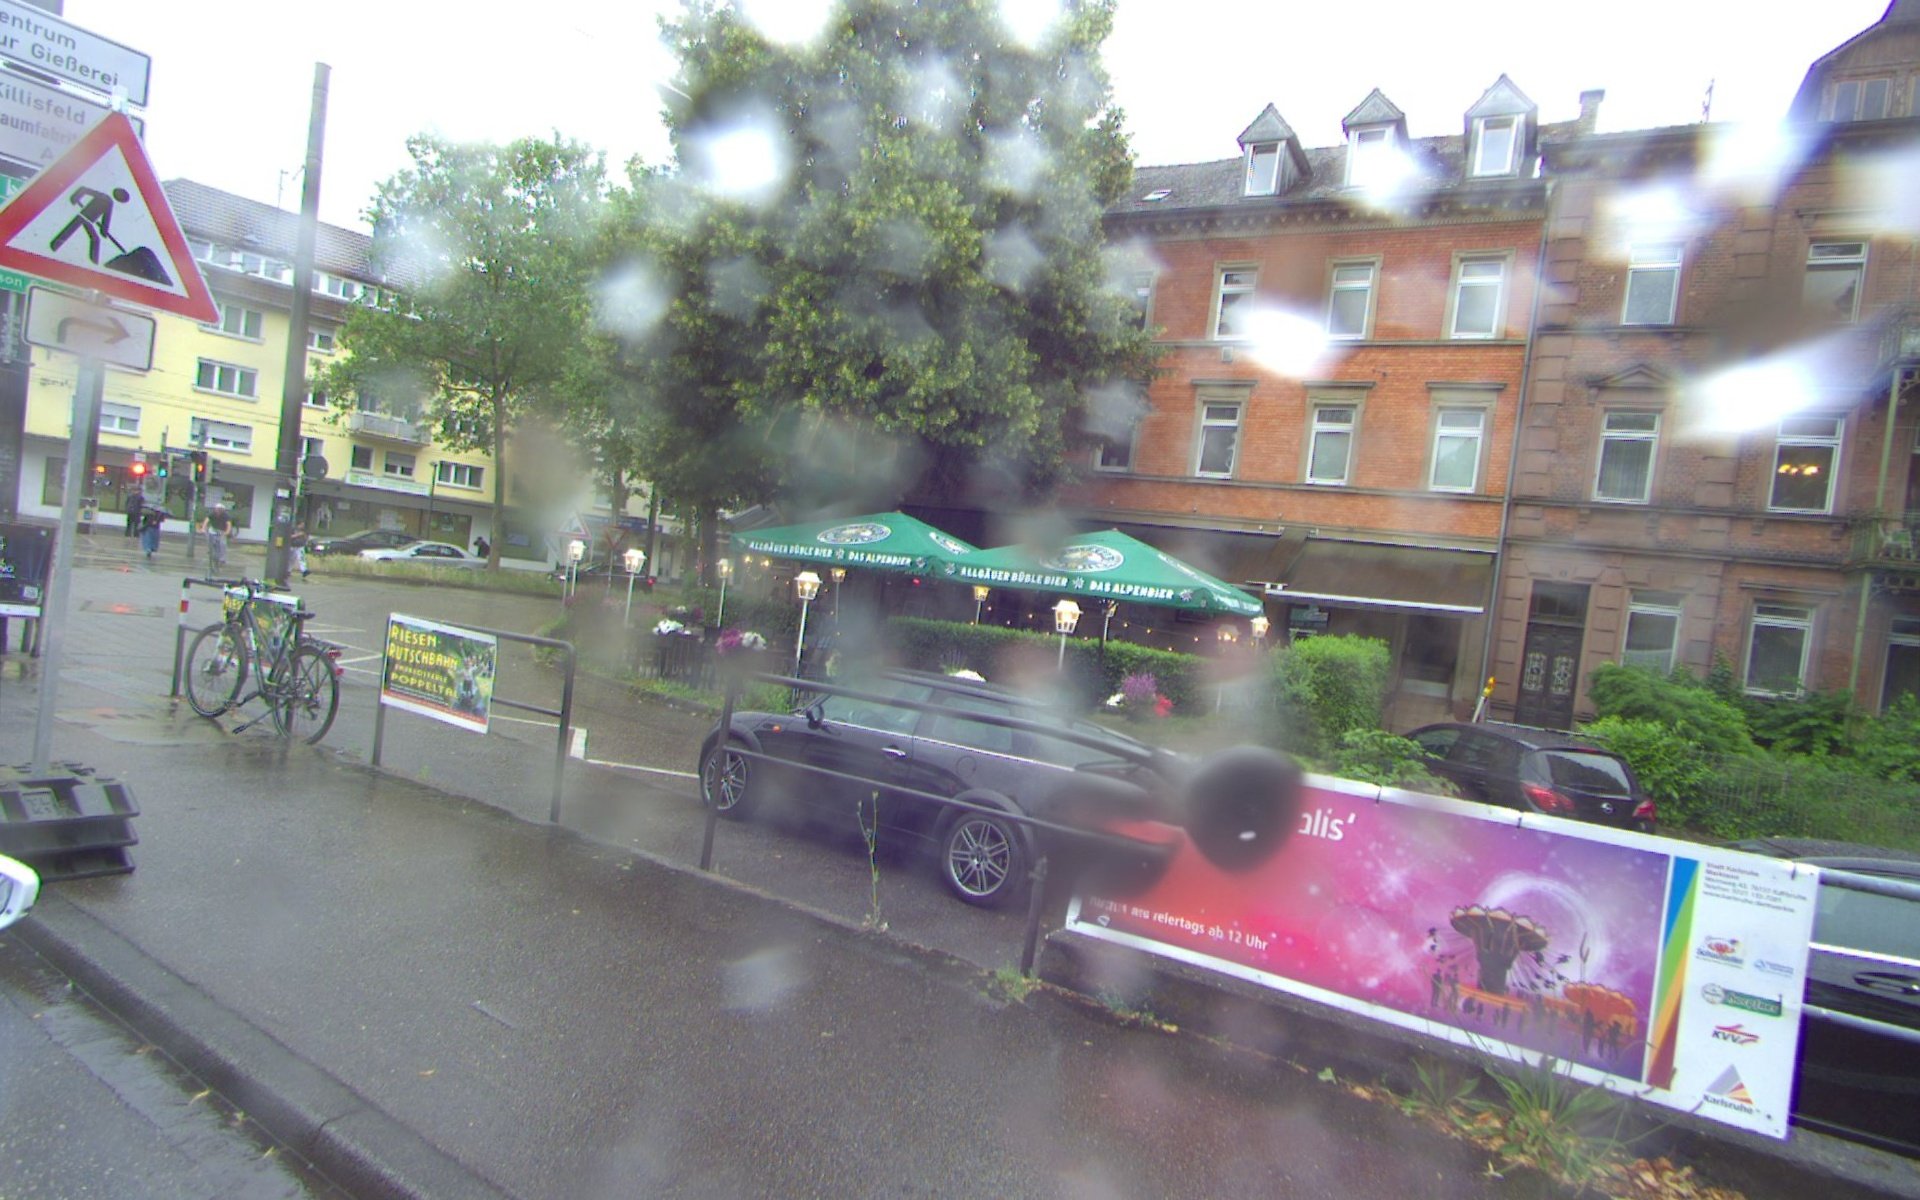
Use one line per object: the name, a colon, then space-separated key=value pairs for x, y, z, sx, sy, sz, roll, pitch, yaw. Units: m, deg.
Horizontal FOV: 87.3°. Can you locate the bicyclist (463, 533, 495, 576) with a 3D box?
bicyclist: x=-19.988 y=-1.881 z=41.805 sx=0.699 sy=1.634 sz=0.815 roll=7 pitch=0 yaw=32

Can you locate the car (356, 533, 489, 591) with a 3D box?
car: x=-19.851 y=-1.378 z=37.233 sx=3.926 sy=1.508 sz=1.784 roll=8 pitch=0 yaw=-43

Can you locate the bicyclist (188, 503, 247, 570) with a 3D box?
bicyclist: x=-19.518 y=-1.659 z=26.435 sx=0.846 sy=1.602 sz=0.879 roll=7 pitch=-1 yaw=34

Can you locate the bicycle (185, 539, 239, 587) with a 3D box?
bicycle: x=-19.675 y=-0.972 z=26.464 sx=1.871 sy=1.040 sz=0.459 roll=8 pitch=1 yaw=34

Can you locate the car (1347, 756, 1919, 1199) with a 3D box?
car: x=4.193 y=1.856 z=4.960 sx=3.907 sy=1.416 sz=1.706 roll=7 pitch=-1 yaw=32

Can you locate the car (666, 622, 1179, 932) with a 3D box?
car: x=-0.351 y=1.215 z=7.802 sx=3.468 sy=1.457 sz=1.710 roll=8 pitch=-3 yaw=34

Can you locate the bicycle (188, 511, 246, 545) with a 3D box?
bicycle: x=-35.599 y=-3.434 z=48.199 sx=2.096 sy=1.277 sz=0.525 roll=8 pitch=0 yaw=-44

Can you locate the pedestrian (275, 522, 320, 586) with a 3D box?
pedestrian: x=-18.937 y=-1.314 z=28.781 sx=0.898 sy=1.689 sz=1.011 roll=7 pitch=-1 yaw=-33

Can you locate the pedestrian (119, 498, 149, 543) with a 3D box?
pedestrian: x=-29.495 y=-2.836 z=35.935 sx=0.545 sy=1.518 sz=0.620 roll=7 pitch=0 yaw=42

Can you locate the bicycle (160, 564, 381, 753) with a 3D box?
bicycle: x=-5.176 y=0.403 z=7.499 sx=1.984 sy=1.119 sz=0.515 roll=7 pitch=-3 yaw=34

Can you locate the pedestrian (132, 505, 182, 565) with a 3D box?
pedestrian: x=-22.684 y=-1.821 z=28.416 sx=0.612 sy=1.552 sz=0.816 roll=7 pitch=0 yaw=-6

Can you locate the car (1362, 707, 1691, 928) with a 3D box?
car: x=6.564 y=2.419 z=12.273 sx=1.962 sy=1.733 sz=4.004 roll=7 pitch=-1 yaw=7

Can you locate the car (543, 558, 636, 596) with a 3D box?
car: x=-15.505 y=-0.932 z=42.276 sx=1.227 sy=1.095 sz=3.531 roll=7 pitch=-2 yaw=34

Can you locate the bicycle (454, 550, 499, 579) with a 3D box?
bicycle: x=-20.059 y=-1.465 z=41.781 sx=0.415 sy=1.013 sz=1.640 roll=7 pitch=-1 yaw=32

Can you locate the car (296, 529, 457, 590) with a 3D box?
car: x=-22.442 y=-1.519 z=38.825 sx=1.975 sy=1.661 sz=4.928 roll=3 pitch=-4 yaw=43
